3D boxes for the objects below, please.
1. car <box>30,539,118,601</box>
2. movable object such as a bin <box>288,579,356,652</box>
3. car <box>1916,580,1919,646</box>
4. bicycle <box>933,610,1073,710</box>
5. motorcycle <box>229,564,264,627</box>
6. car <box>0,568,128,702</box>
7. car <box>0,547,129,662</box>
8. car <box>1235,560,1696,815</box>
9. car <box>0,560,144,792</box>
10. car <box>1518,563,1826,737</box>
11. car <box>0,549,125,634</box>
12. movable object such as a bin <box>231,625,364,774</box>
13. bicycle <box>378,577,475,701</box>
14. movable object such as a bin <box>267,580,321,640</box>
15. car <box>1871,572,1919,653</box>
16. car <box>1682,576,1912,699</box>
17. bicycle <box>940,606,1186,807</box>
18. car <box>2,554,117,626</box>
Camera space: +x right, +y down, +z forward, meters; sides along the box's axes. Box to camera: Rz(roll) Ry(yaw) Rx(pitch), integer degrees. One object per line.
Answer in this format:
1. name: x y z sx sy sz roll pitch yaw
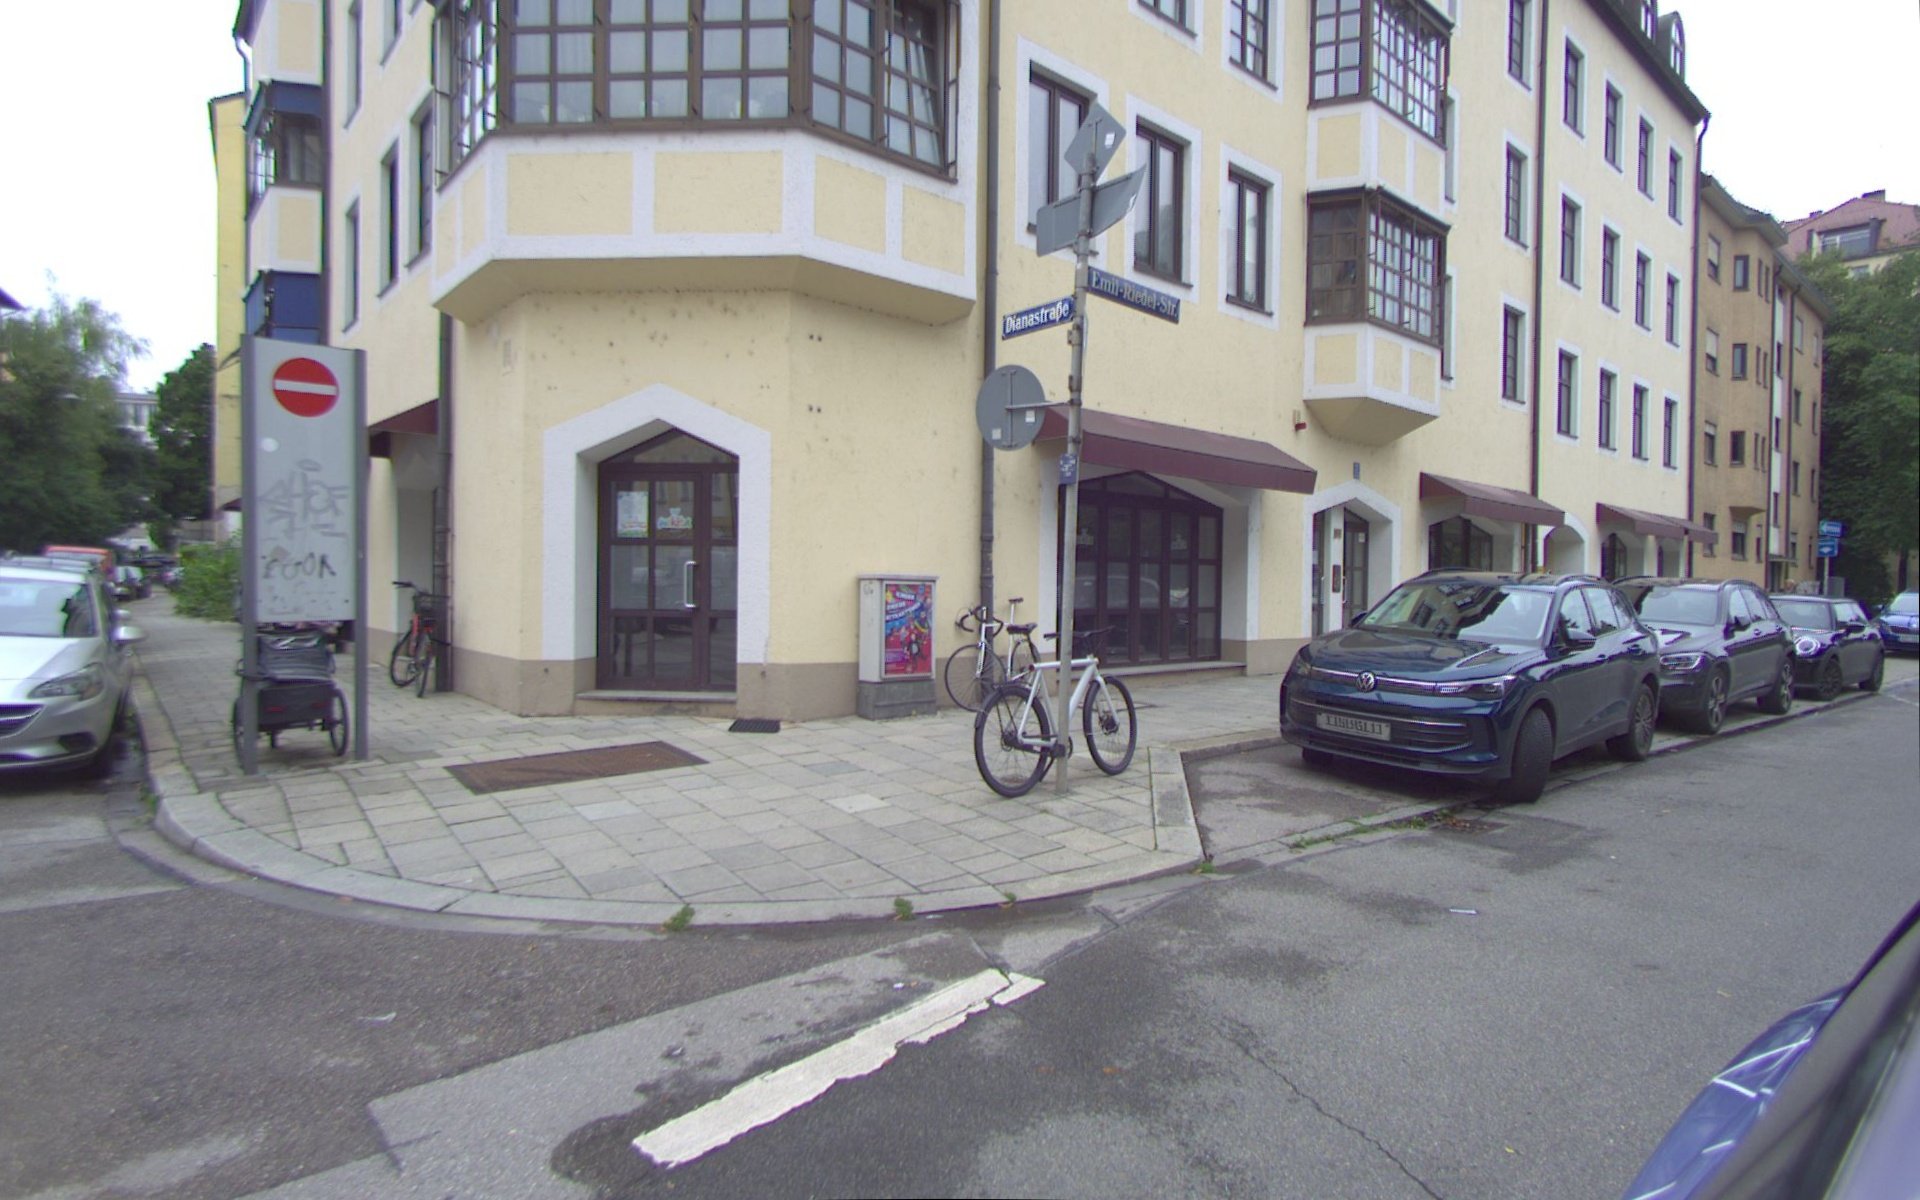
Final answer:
1. car: -30.824 -1.023 35.315 2.028 2.003 4.429 -1 1 -38
2. movable object such as a bin: -10.179 0.219 16.137 0.754 1.094 1.125 -1 2 -41
3. car: 26.466 0.320 26.199 4.533 1.673 1.883 0 0 -38
4. bicycle: 0.475 0.593 10.523 1.665 0.912 0.262 -1 6 -40
5. motorcycle: -16.173 -0.134 22.928 0.546 1.356 1.885 0 2 -39
6. car: -11.012 0.328 12.058 1.609 1.353 3.454 -1 3 -38
7. car: -14.295 0.010 15.845 1.950 1.604 4.025 -1 2 -39
8. car: 4.544 0.519 8.784 4.419 1.643 2.110 -1 2 -42
9. car: -7.483 0.427 7.791 1.719 1.458 3.745 3 0 -38
10. car: 8.546 0.442 12.032 4.089 1.607 1.819 -1 6 -39
11. car: -18.794 -0.212 21.165 1.944 1.588 4.424 -1 1 -41
12. movable object such as a bin: -4.831 0.674 7.356 0.672 0.911 1.125 -1 2 -41
13. bicycle: -5.764 0.365 10.884 0.506 1.201 1.904 0 1 -41
14. movable object such as a bin: -11.992 0.164 18.222 0.672 1.026 1.125 -1 2 -41
15. car: 22.518 0.268 22.879 5.514 1.672 1.884 0 3 -38
16. car: 12.536 0.462 15.098 3.860 1.541 1.765 0 3 -37
17. bicycle: 0.775 0.656 7.034 2.017 1.173 0.430 -1 3 -41
18. car: -21.874 -0.269 24.682 1.944 1.588 4.424 -1 1 -41
